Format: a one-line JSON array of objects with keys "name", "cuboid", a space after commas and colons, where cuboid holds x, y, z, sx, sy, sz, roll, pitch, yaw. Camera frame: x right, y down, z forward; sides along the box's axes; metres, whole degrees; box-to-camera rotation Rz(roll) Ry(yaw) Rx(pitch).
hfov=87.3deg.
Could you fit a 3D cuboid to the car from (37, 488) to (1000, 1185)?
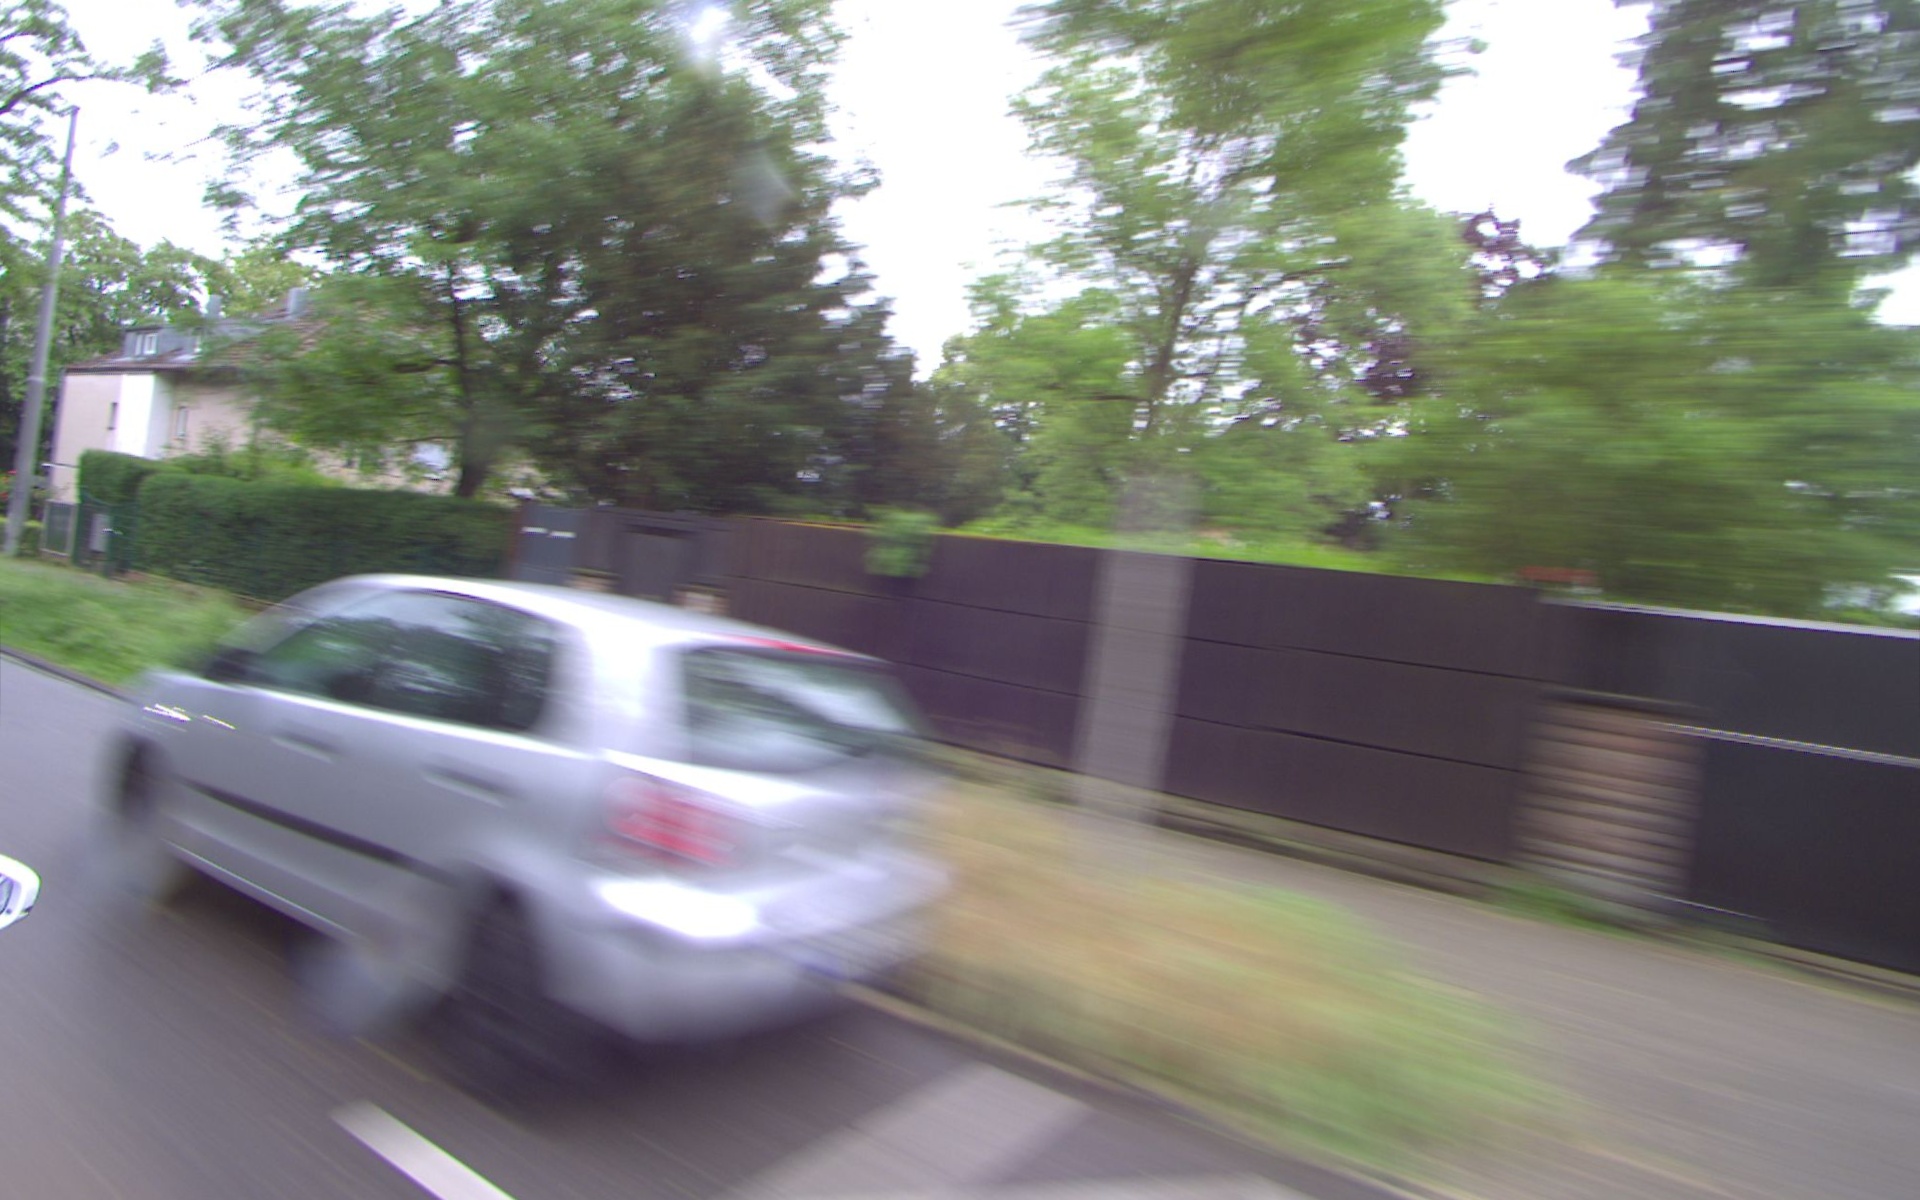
[{"name": "car", "cuboid": [-1.957, 0.567, 4.175, 3.770, 1.525, 1.622, 8, -2, 31]}]
